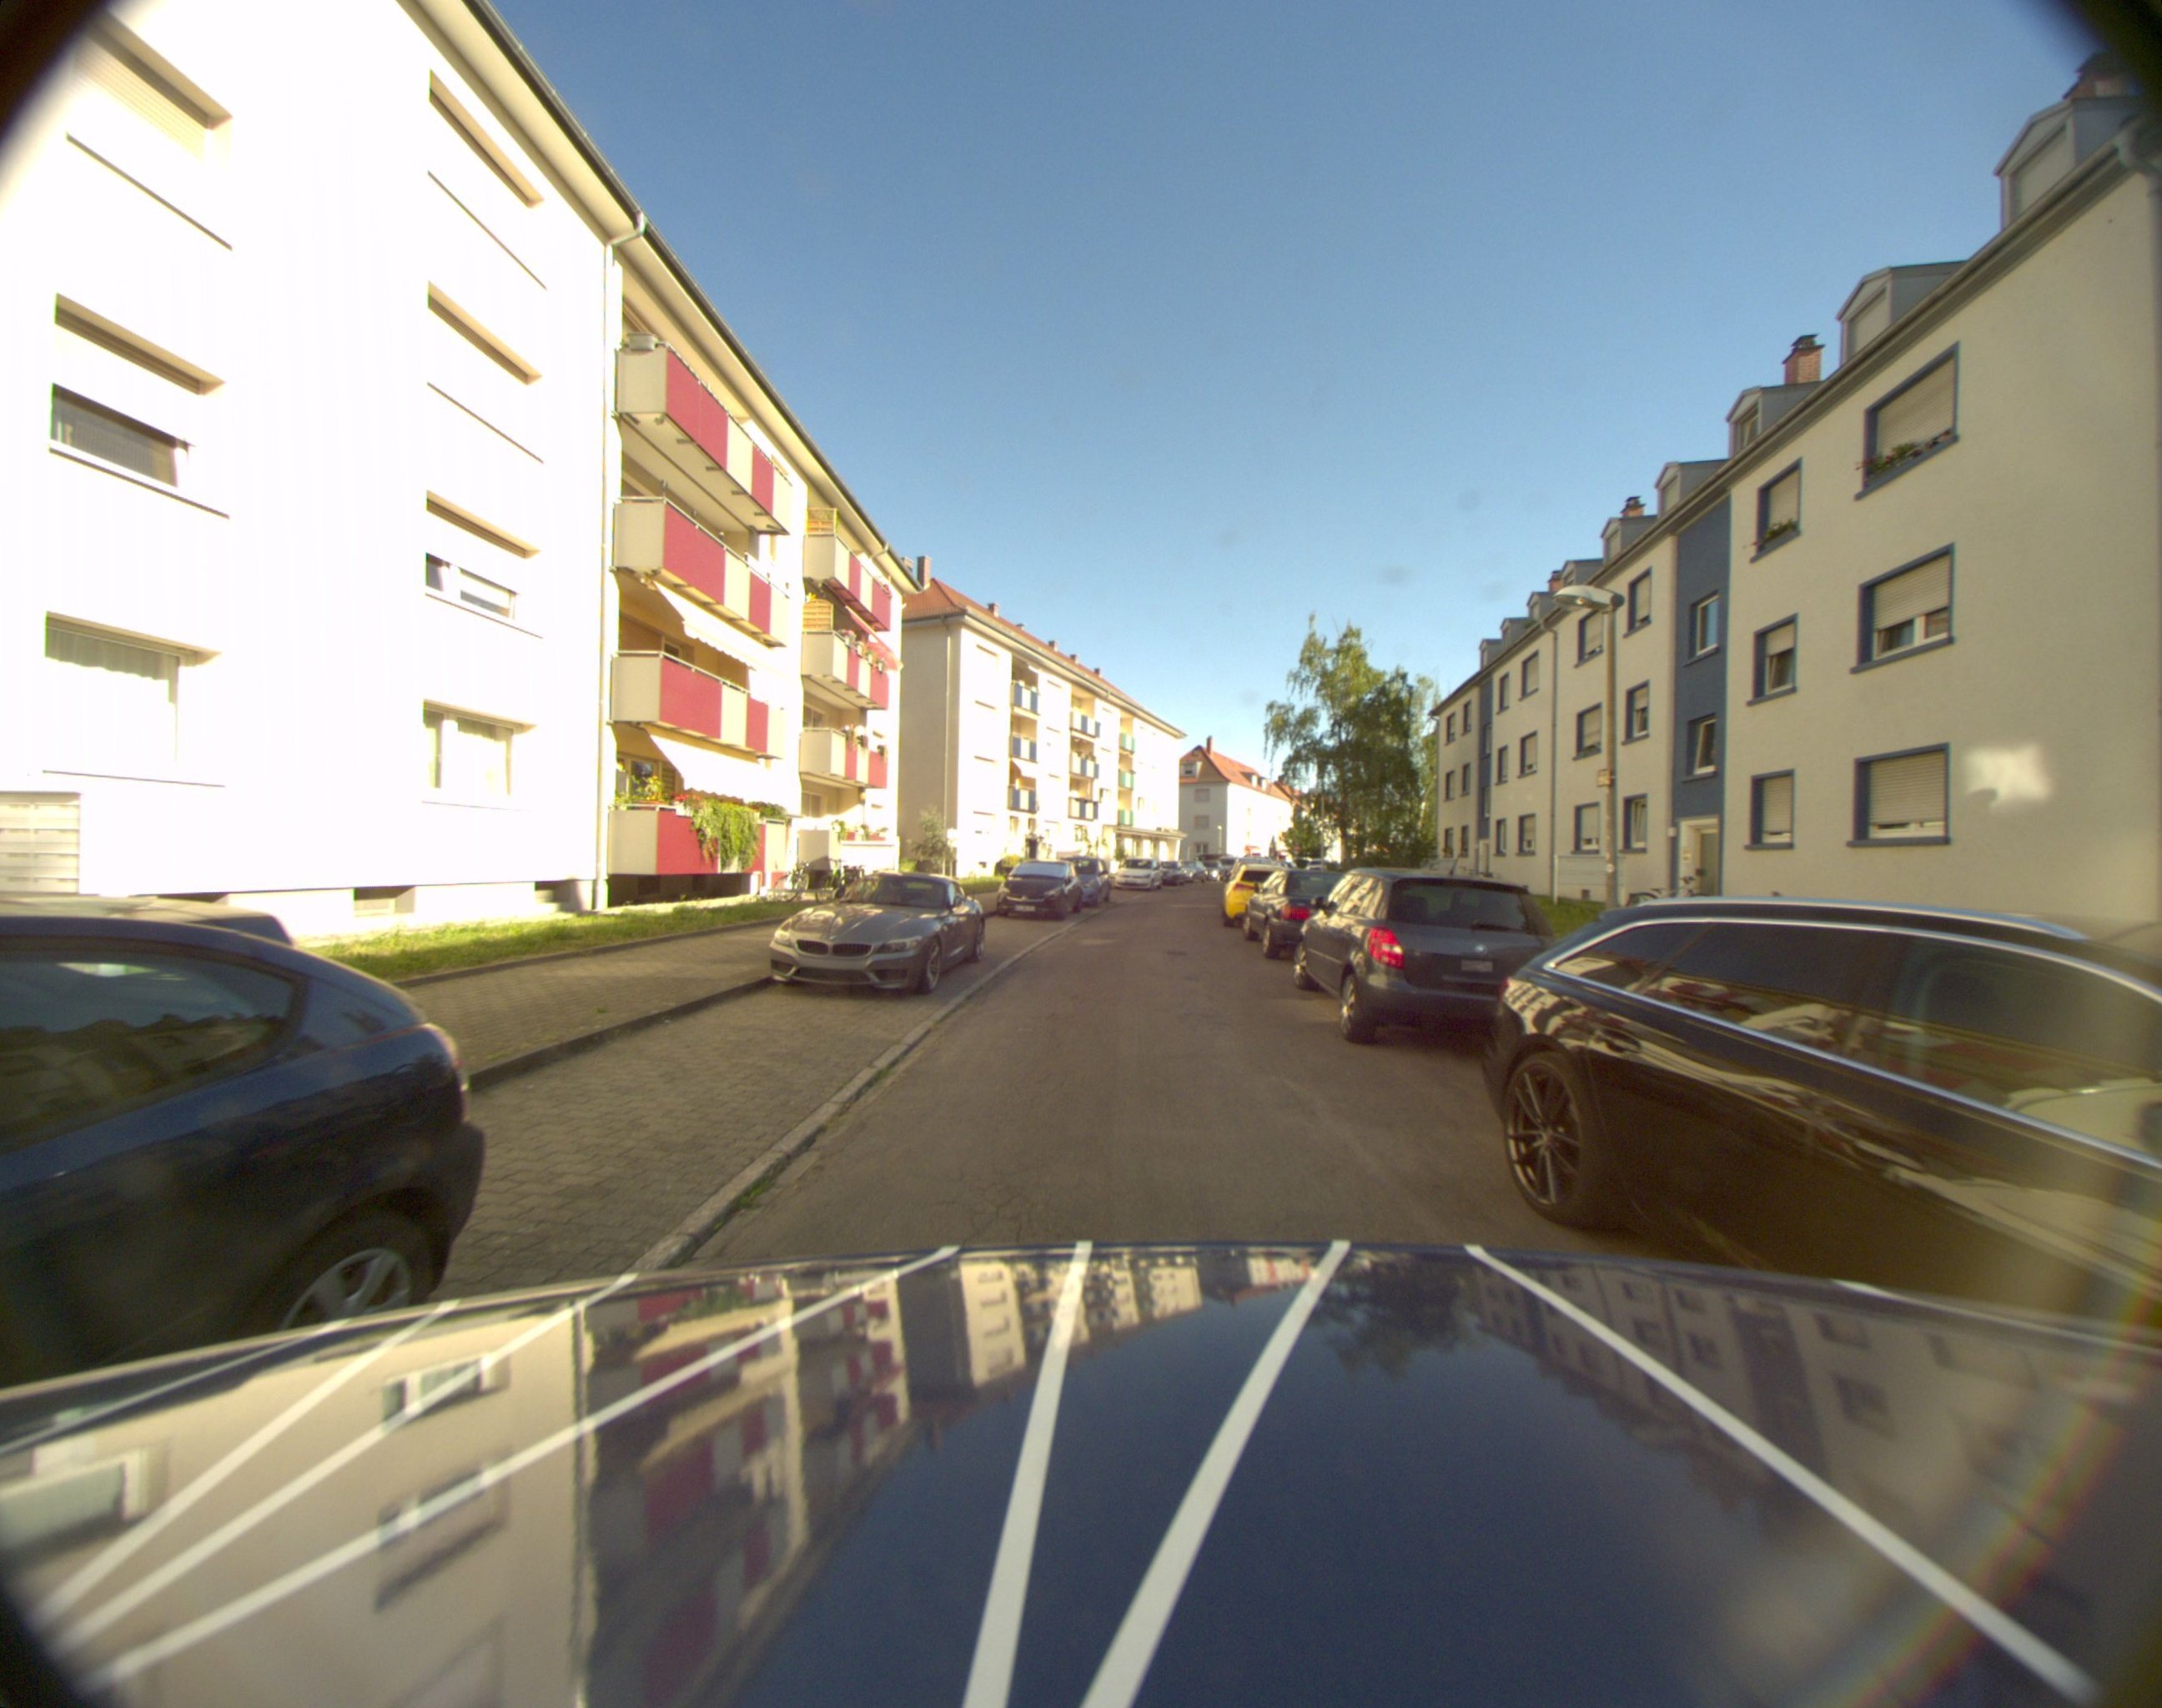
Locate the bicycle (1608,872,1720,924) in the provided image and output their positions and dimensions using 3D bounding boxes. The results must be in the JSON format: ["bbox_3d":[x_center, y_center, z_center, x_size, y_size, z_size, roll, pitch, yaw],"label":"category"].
[{"bbox_3d":[12.609,0.957,16.490,1.822,1.072,0.569,-1,0,18],"label":"bicycle"}]

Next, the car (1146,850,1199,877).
[{"bbox_3d":[5.355,0.528,43.966,1.695,1.423,4.695,-1,1,24],"label":"car"}]

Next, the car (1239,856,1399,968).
[{"bbox_3d":[3.743,0.804,12.672,1.572,1.456,4.263,3,0,5],"label":"car"}]

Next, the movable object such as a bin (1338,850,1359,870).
[{"bbox_3d":[18.341,0.426,52.136,1.220,1.372,0.769,1,0,31],"label":"movable object such as a bin"}]

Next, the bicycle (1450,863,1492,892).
[{"bbox_3d":[15.875,0.948,30.919,1.411,1.145,0.416,2,1,11],"label":"bicycle"}]

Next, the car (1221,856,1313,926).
[{"bbox_3d":[4.255,0.777,17.916,1.697,1.381,4.160,2,0,9],"label":"car"}]

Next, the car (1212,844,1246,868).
[{"bbox_3d":[11.862,0.152,60.665,1.748,1.813,4.138,3,1,24],"label":"car"}]

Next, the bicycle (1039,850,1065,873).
[{"bbox_3d":[-1.533,0.401,40.749,0.515,1.196,1.837,3,1,26],"label":"bicycle"}]

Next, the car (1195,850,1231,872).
[{"bbox_3d":[9.656,0.481,55.407,1.679,1.399,4.552,-1,1,21],"label":"car"}]

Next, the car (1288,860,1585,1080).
[{"bbox_3d":[3.099,0.863,7.419,1.481,1.469,3.633,3,1,7],"label":"car"}]

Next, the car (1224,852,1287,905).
[{"bbox_3d":[5.455,0.701,23.844,1.696,1.437,4.024,3,1,12],"label":"car"}]

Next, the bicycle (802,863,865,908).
[{"bbox_3d":[-5.889,0.742,18.178,0.618,0.972,1.897,4,-1,7],"label":"bicycle"}]

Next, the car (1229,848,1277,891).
[{"bbox_3d":[6.652,0.550,29.656,1.696,1.552,4.160,-1,1,11],"label":"car"}]

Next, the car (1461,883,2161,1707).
[{"bbox_3d":[2.744,0.940,1.612,1.747,1.423,4.599,4,1,4],"label":"car"}]

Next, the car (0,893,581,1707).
[{"bbox_3d":[-2.827,0.930,0.703,1.742,1.423,4.356,3,1,1],"label":"car"}]

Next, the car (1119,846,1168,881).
[{"bbox_3d":[3.163,0.474,37.888,1.696,1.646,4.395,0,0,14],"label":"car"}]

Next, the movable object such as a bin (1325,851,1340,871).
[{"bbox_3d":[17.717,0.508,53.438,0.776,1.385,1.420,2,1,26],"label":"movable object such as a bin"}]

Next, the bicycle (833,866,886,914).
[{"bbox_3d":[-5.211,0.819,17.977,0.498,1.014,1.842,3,1,6],"label":"bicycle"}]

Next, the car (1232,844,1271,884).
[{"bbox_3d":[8.150,0.433,36.067,1.557,1.704,4.342,4,2,15],"label":"car"}]

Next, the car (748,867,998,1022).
[{"bbox_3d":[-2.348,0.948,9.796,1.689,1.355,4.241,4,1,5],"label":"car"}]

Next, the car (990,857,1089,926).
[{"bbox_3d":[-0.979,0.904,20.100,1.738,1.500,3.888,4,1,9],"label":"car"}]

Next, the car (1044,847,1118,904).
[{"bbox_3d":[0.104,0.641,25.261,1.768,1.626,4.043,2,2,9],"label":"car"}]

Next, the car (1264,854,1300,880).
[{"bbox_3d":[12.514,0.760,47.096,1.679,1.434,4.286,4,2,20],"label":"car"}]

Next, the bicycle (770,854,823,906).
[{"bbox_3d":[-6.815,0.599,18.263,0.408,1.144,1.763,3,1,5],"label":"bicycle"}]

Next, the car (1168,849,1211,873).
[{"bbox_3d":[7.192,0.446,49.835,1.679,1.438,4.731,-1,1,22],"label":"car"}]
